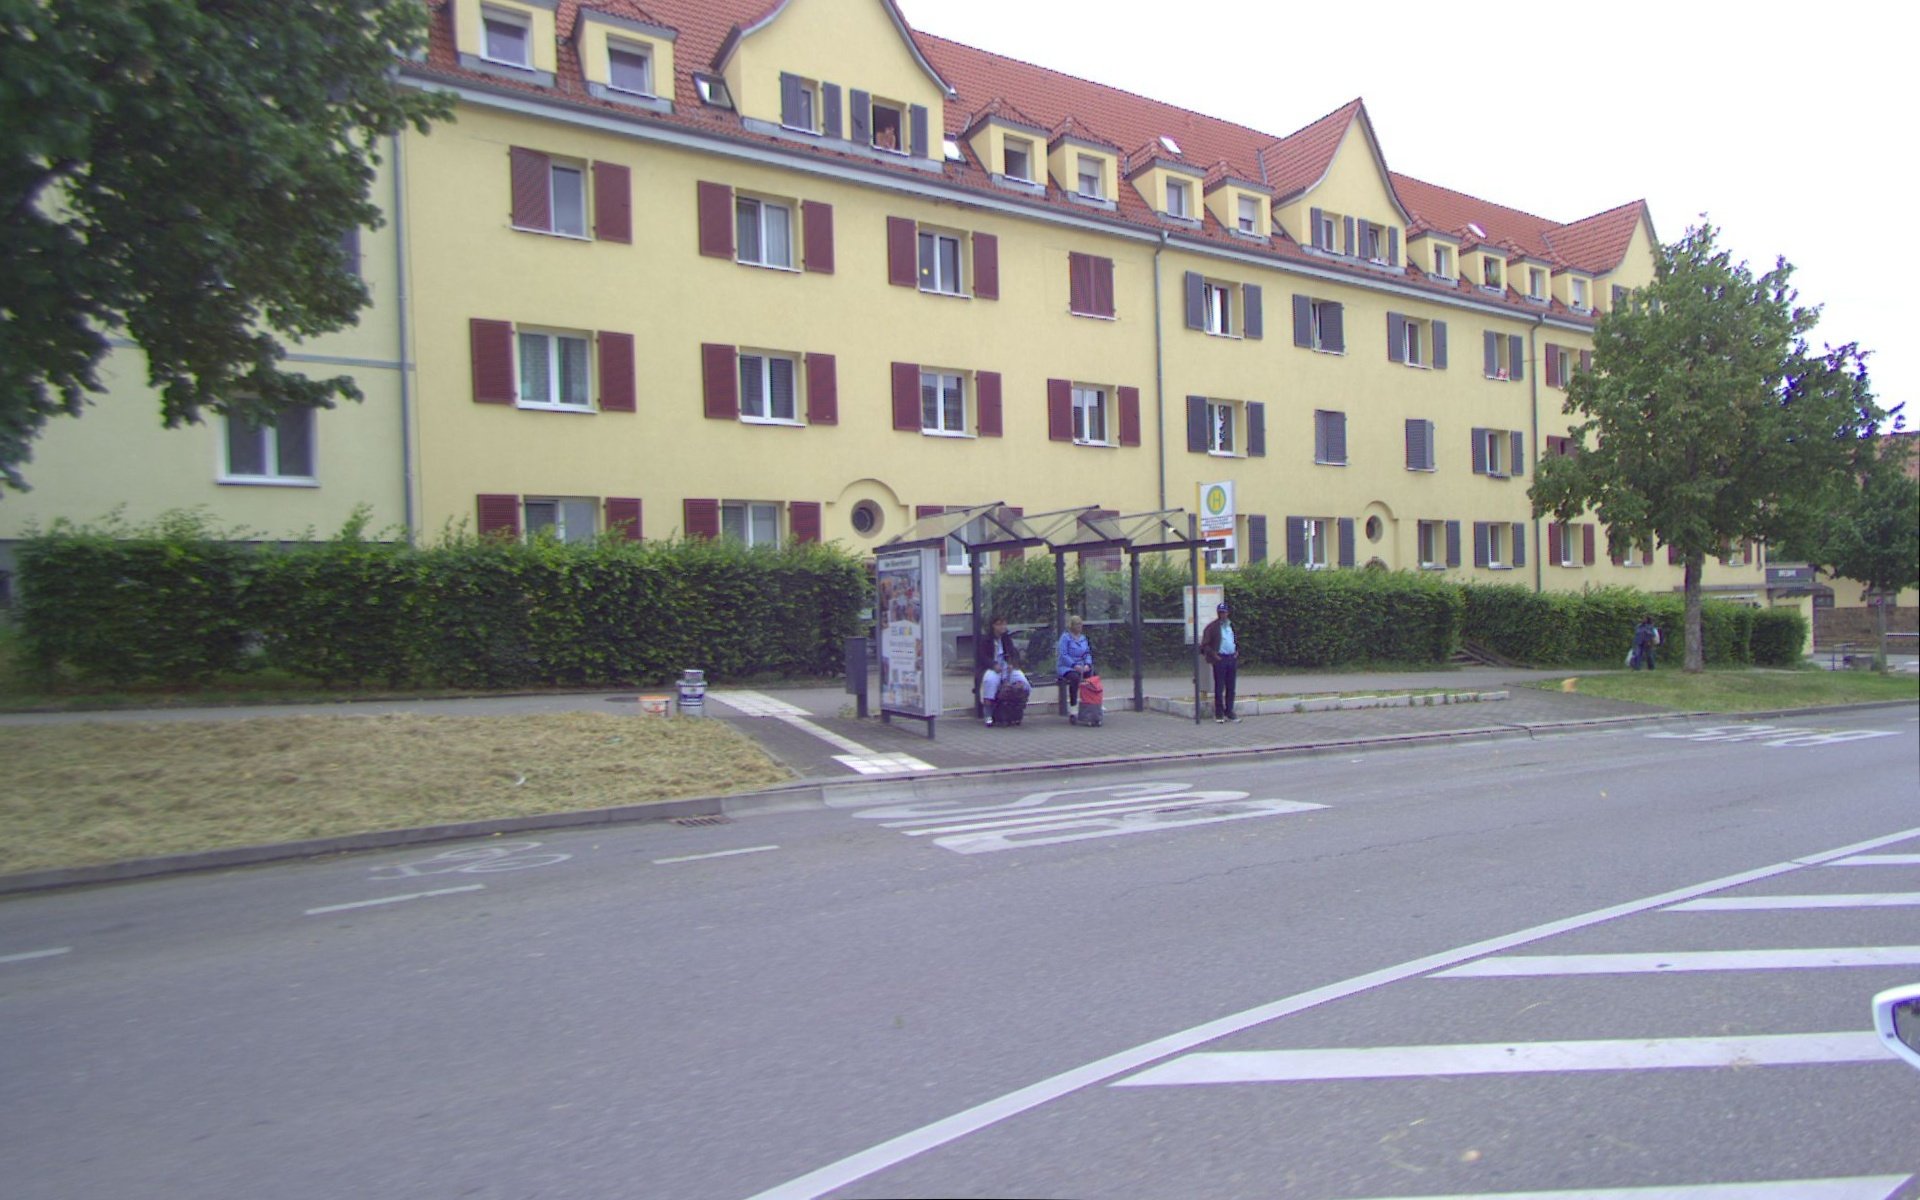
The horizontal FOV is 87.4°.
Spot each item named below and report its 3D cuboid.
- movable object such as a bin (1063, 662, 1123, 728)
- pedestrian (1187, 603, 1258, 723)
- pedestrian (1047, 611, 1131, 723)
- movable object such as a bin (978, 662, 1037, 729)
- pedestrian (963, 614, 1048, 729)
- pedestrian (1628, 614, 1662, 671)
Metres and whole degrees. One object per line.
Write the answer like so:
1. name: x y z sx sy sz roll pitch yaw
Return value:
1. movable object such as a bin: 1.882 1.331 14.243 0.657 0.857 0.534 0 1 -29
2. pedestrian: 3.962 0.933 15.143 0.850 1.750 0.595 1 0 -28
3. pedestrian: 1.839 0.930 14.385 0.797 1.530 0.895 0 1 -29
4. movable object such as a bin: 0.646 1.286 13.621 0.657 0.837 0.462 0 1 -29
5. pedestrian: 0.618 0.944 13.745 0.797 1.493 0.895 0 1 -29
6. pedestrian: 19.955 1.237 29.262 0.611 1.640 0.637 0 0 -31
